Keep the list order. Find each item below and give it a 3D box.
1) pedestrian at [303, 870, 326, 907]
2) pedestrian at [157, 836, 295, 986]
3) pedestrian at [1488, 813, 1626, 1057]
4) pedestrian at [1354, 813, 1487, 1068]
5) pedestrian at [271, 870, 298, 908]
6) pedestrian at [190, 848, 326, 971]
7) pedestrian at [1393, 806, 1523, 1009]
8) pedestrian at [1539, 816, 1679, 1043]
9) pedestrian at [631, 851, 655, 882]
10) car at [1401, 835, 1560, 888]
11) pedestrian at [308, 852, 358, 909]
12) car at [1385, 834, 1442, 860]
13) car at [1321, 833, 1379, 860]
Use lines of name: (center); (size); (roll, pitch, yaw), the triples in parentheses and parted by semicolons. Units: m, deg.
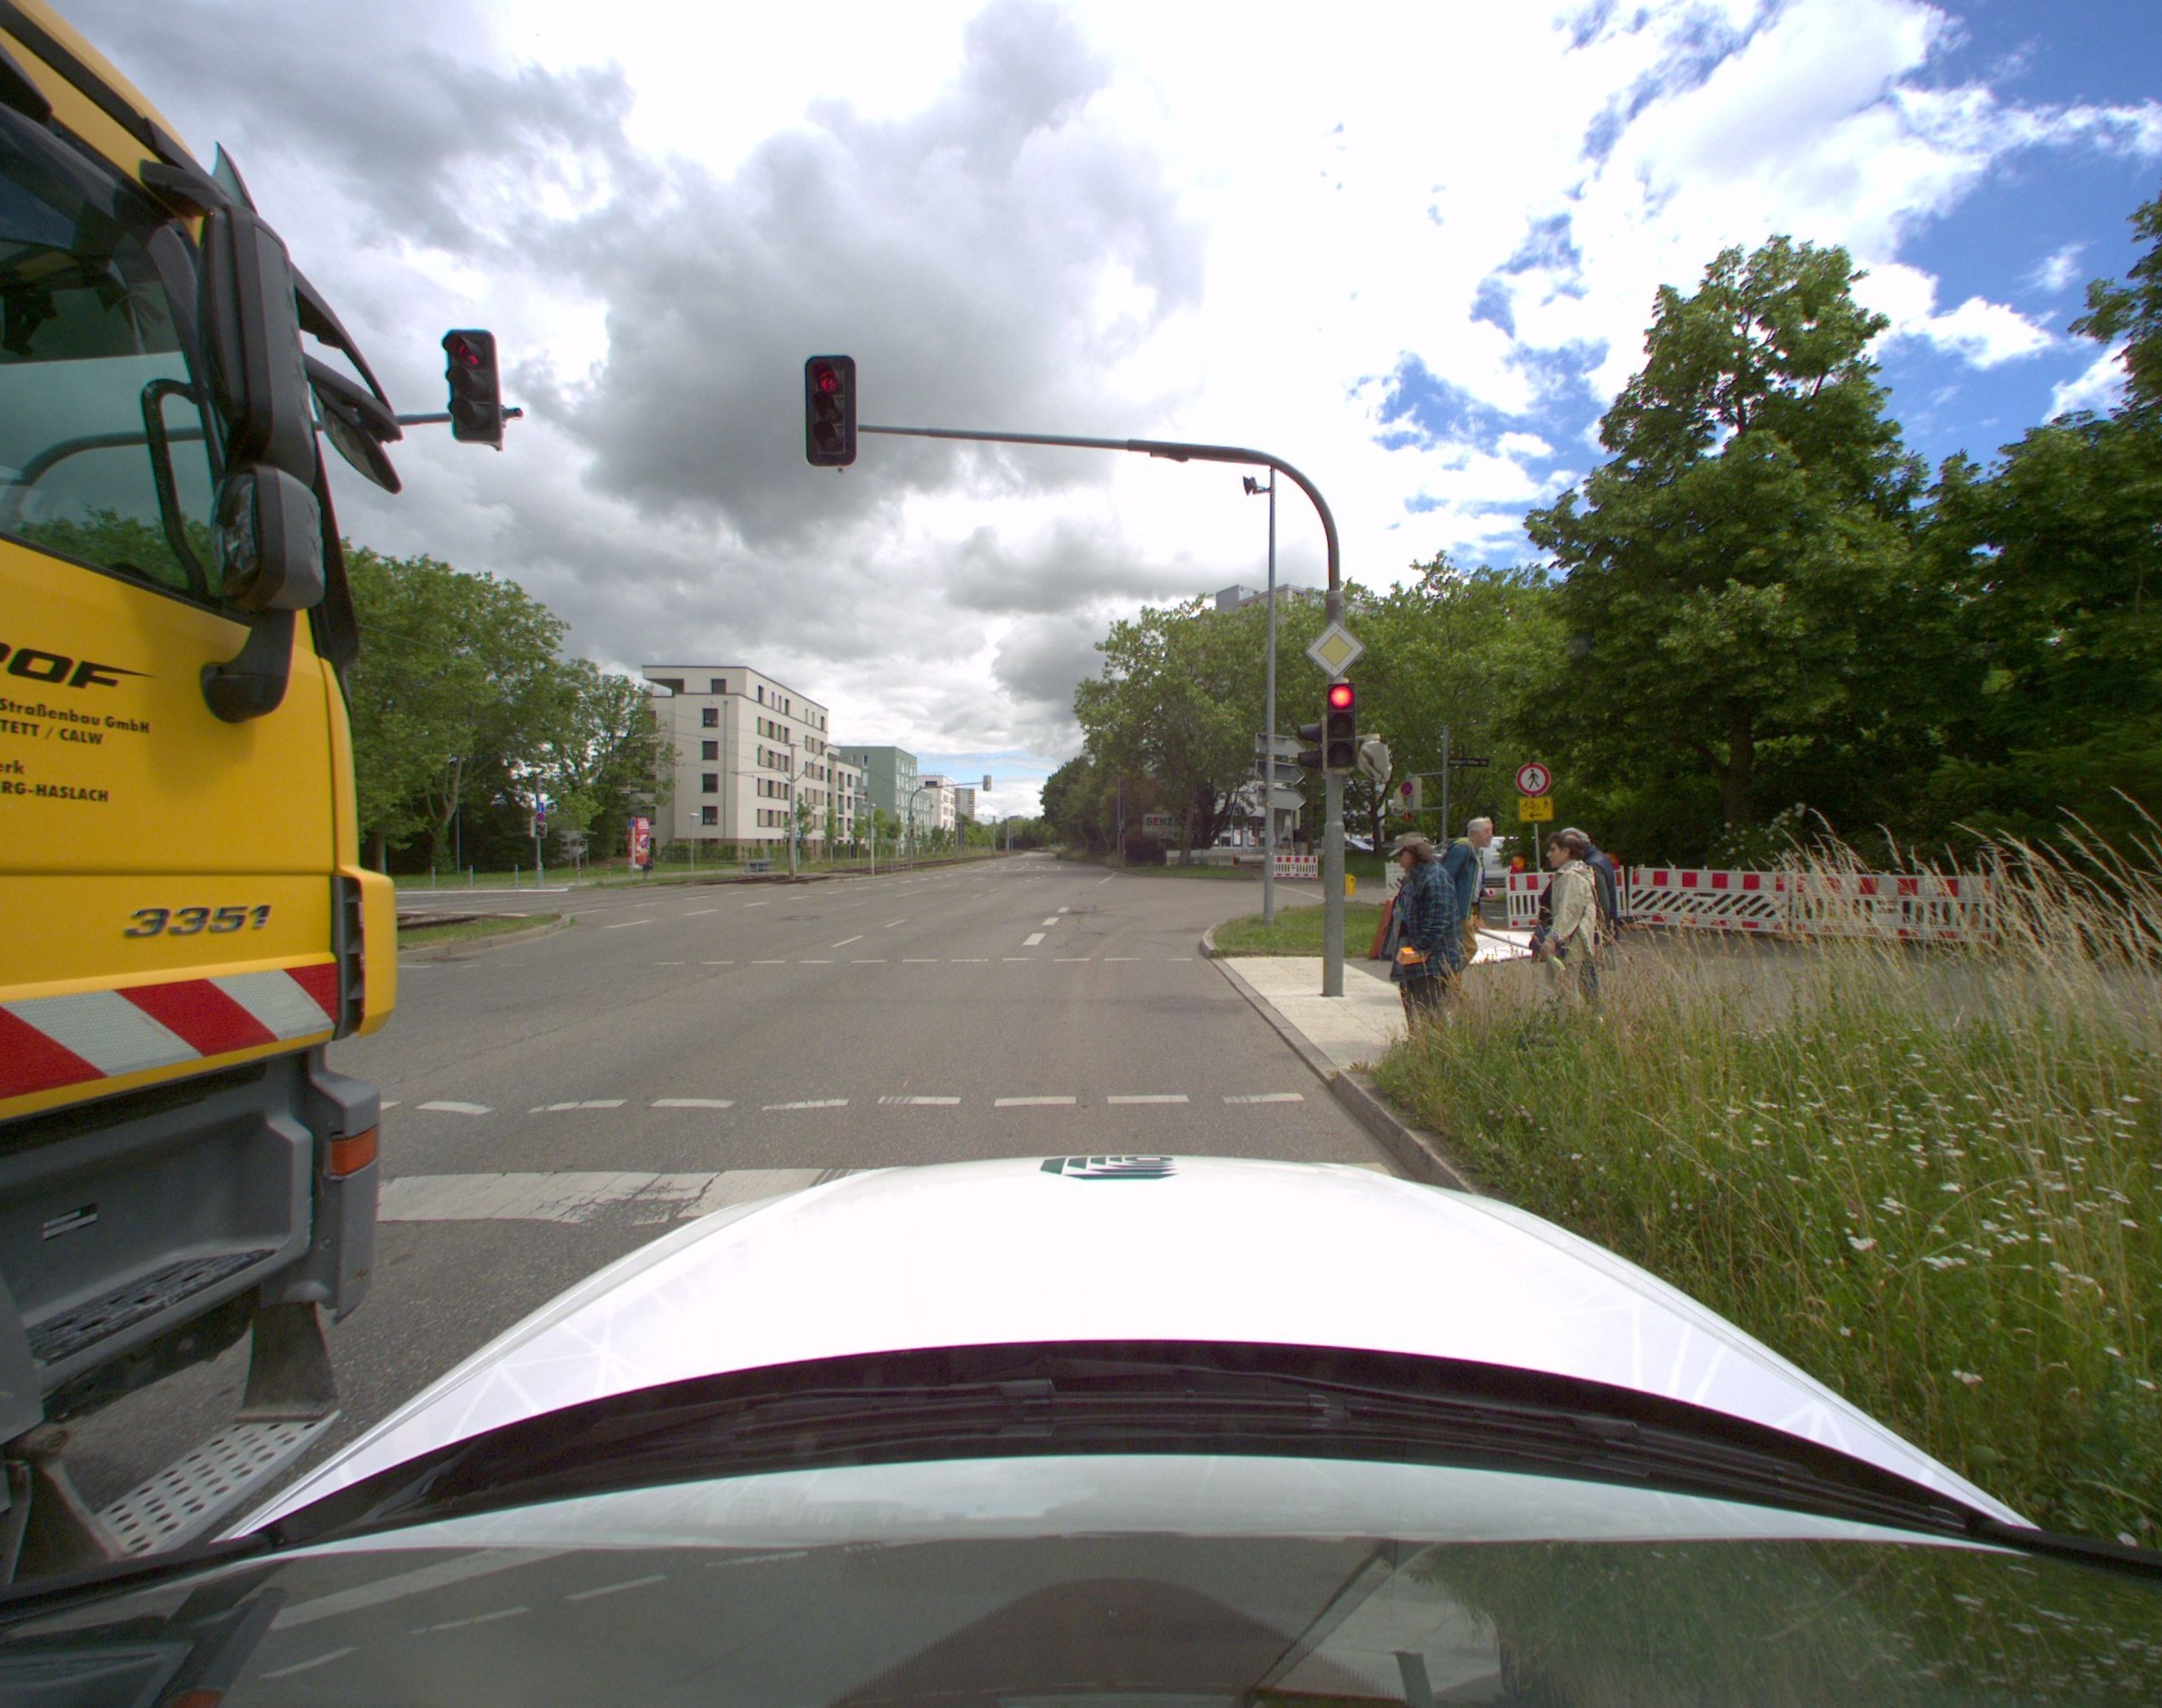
pedestrian: (-23.860, 1.066, 25.359); (0.443, 1.128, 0.370); (0, 0, -29)
pedestrian: (-10.396, 0.668, 9.936); (0.779, 1.742, 0.829); (-1, 0, 1)
pedestrian: (3.481, 0.538, 5.990); (0.814, 1.640, 0.738); (0, 0, 30)
pedestrian: (2.385, 0.568, 5.815); (0.816, 1.671, 0.737); (-1, 0, 18)
pedestrian: (-24.407, 1.061, 24.956); (0.506, 1.124, 0.418); (0, 0, -29)
pedestrian: (-11.124, 0.718, 11.043); (0.889, 1.596, 0.908); (-1, 0, 2)
pedestrian: (3.605, 0.462, 7.764); (1.000, 1.774, 0.954); (-1, 0, 31)
pedestrian: (4.119, 0.542, 6.422); (0.860, 1.634, 0.770); (0, 0, 29)
pedestrian: (-21.965, 0.616, 40.851); (0.827, 1.516, 0.636); (-1, 0, 1)
car: (14.916, 0.250, 30.572); (5.063, 1.874, 1.947); (-1, 0, -2)
pedestrian: (-22.624, 0.784, 24.666); (1.075, 1.648, 0.700); (-1, 0, -41)
car: (27.305, -0.577, 66.984); (2.006, 2.013, 3.962); (-1, 0, -29)
car: (20.560, -0.556, 62.368); (2.006, 2.013, 3.962); (-1, 0, -29)
